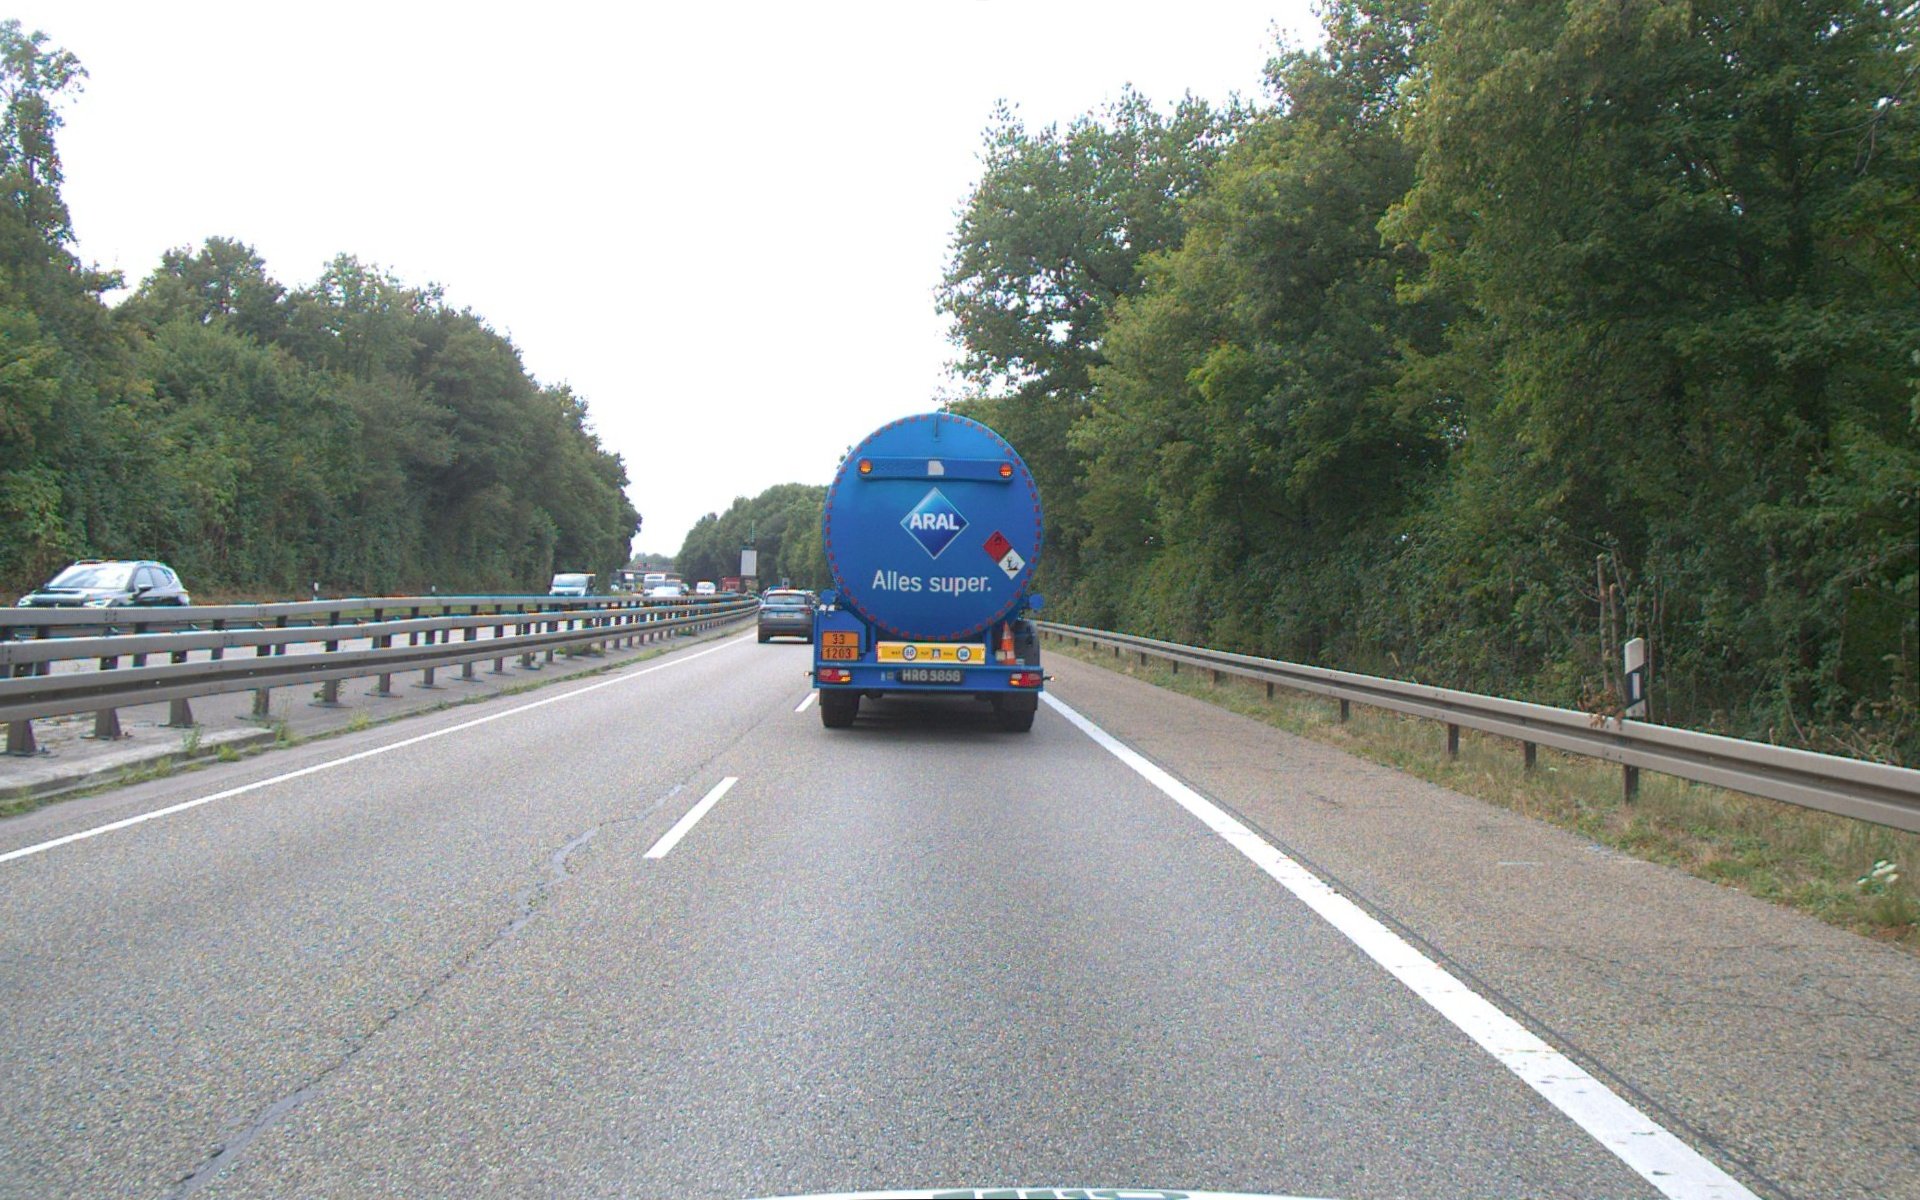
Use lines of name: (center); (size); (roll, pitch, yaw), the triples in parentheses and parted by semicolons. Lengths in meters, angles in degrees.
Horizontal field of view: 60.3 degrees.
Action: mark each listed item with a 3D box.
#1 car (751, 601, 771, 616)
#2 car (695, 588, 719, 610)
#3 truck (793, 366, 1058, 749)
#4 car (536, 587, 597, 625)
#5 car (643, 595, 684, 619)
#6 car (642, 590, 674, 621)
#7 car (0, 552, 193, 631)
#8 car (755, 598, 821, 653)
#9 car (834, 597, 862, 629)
car: (-21.910, 0.918, 182.163); (1.958, 1.579, 3.989); (1, -1, -11)
car: (-23.985, -0.068, 156.971); (1.786, 2.018, 5.053); (0, -1, -4)
truck: (-0.401, -0.426, 20.864); (2.699, 3.914, 7.687); (0, 0, -1)
car: (-19.592, 0.306, 82.494); (1.994, 1.835, 5.120); (0, -1, -3)
car: (-16.506, 0.403, 92.176); (1.622, 1.300, 4.710); (1, -1, -3)
car: (-26.976, 0.525, 147.821); (2.266, 2.657, 5.547); (0, -1, -5)
car: (-15.721, -0.121, 29.920); (1.938, 1.322, 4.065); (0, -1, -3)
car: (-5.346, 0.789, 51.725); (1.790, 1.638, 4.165); (0, -1, -3)
car: (-8.075, 0.924, 119.536); (1.954, 2.284, 3.997); (0, -1, -3)
